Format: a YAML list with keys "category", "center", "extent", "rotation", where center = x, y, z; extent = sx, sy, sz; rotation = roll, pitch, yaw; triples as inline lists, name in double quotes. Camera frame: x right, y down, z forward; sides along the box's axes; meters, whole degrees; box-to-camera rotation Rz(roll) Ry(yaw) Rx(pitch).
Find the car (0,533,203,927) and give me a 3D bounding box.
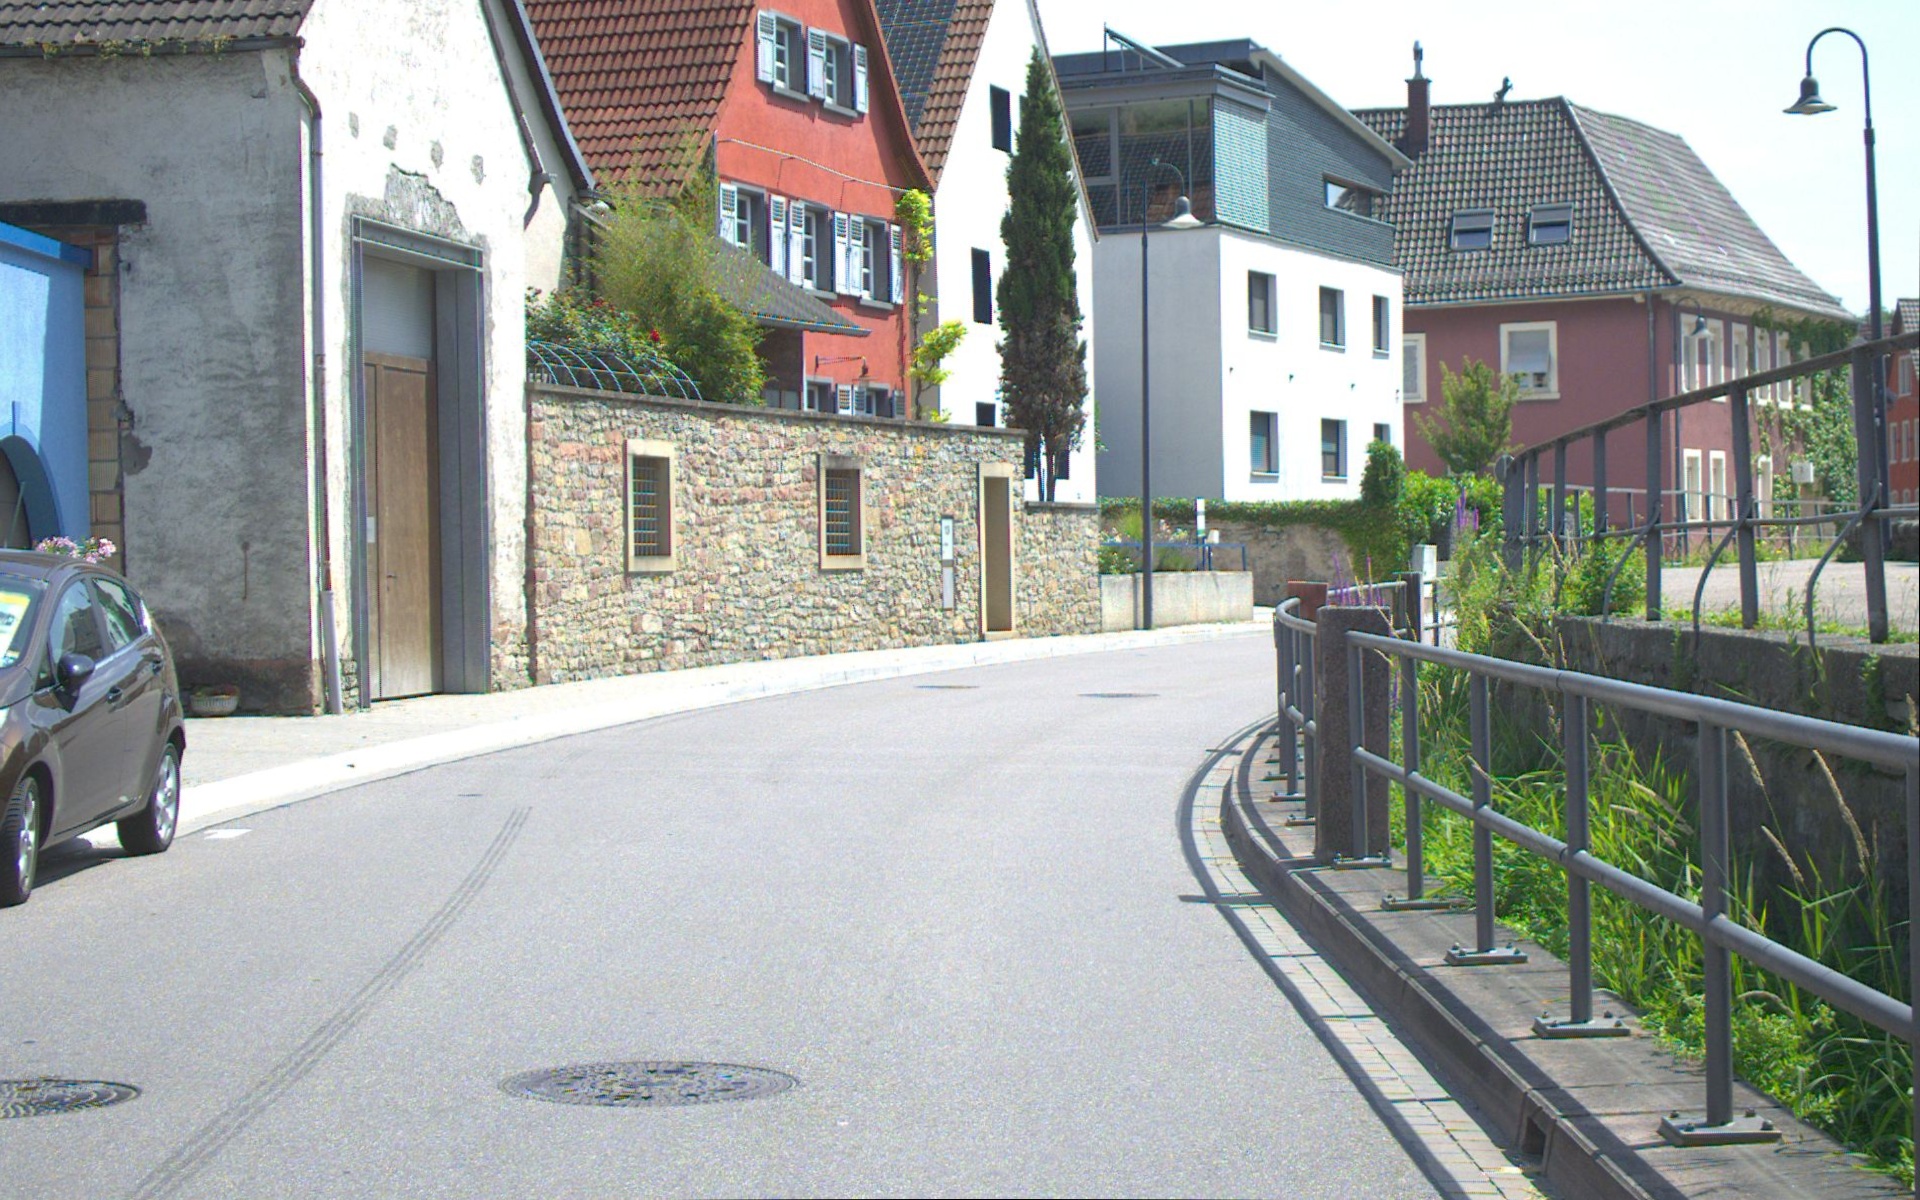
- category: "car"
  center: [-4.680, 0.469, 15.429]
  extent: [1.717, 1.525, 3.857]
  rotation: [3, 1, -1]
